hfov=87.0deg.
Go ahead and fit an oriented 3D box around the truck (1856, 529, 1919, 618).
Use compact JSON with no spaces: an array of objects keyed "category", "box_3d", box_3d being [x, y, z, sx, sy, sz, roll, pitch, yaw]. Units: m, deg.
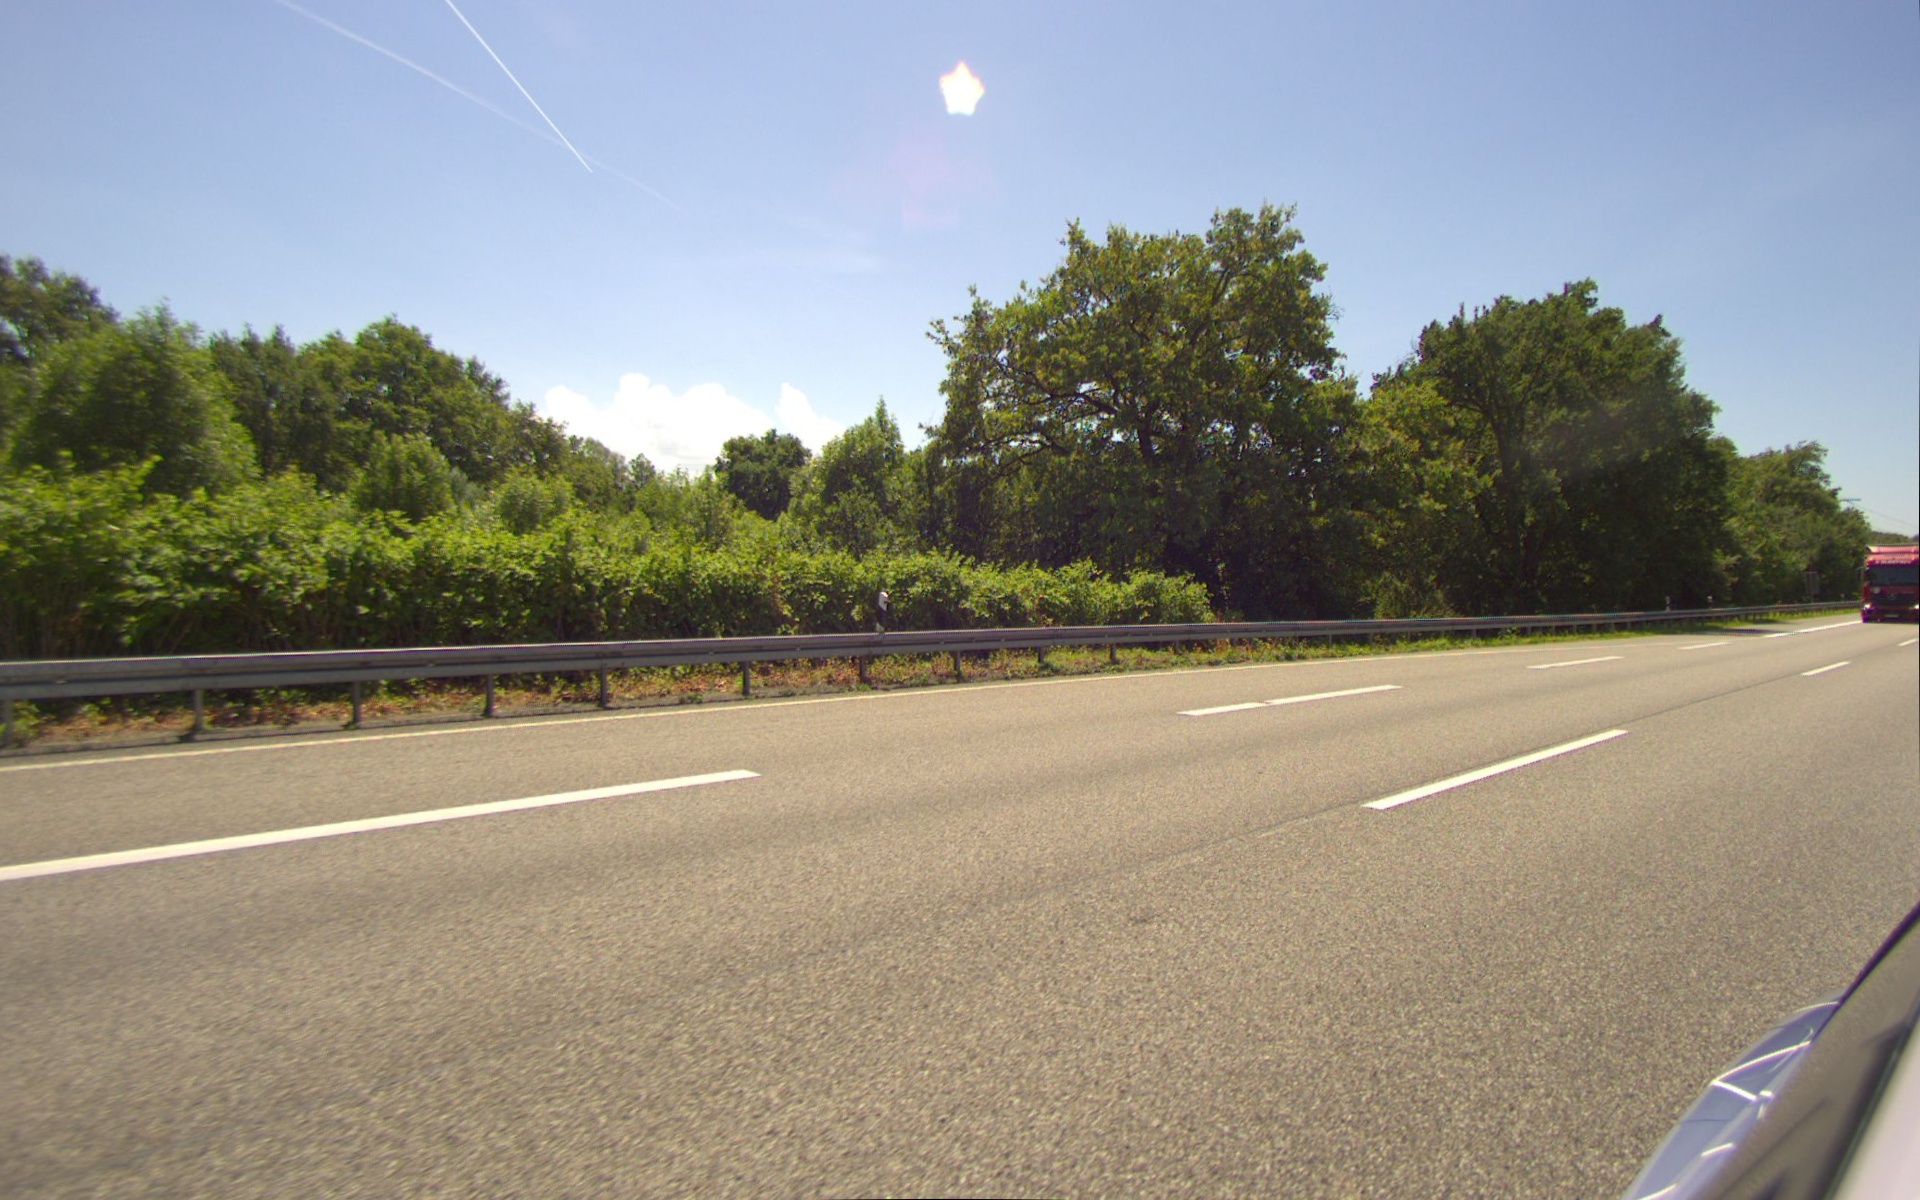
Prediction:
[{"category":"truck","box_3d":[50.380,-1.351,53.600,8.353,4.431,3.331,0,1,-41]}]
